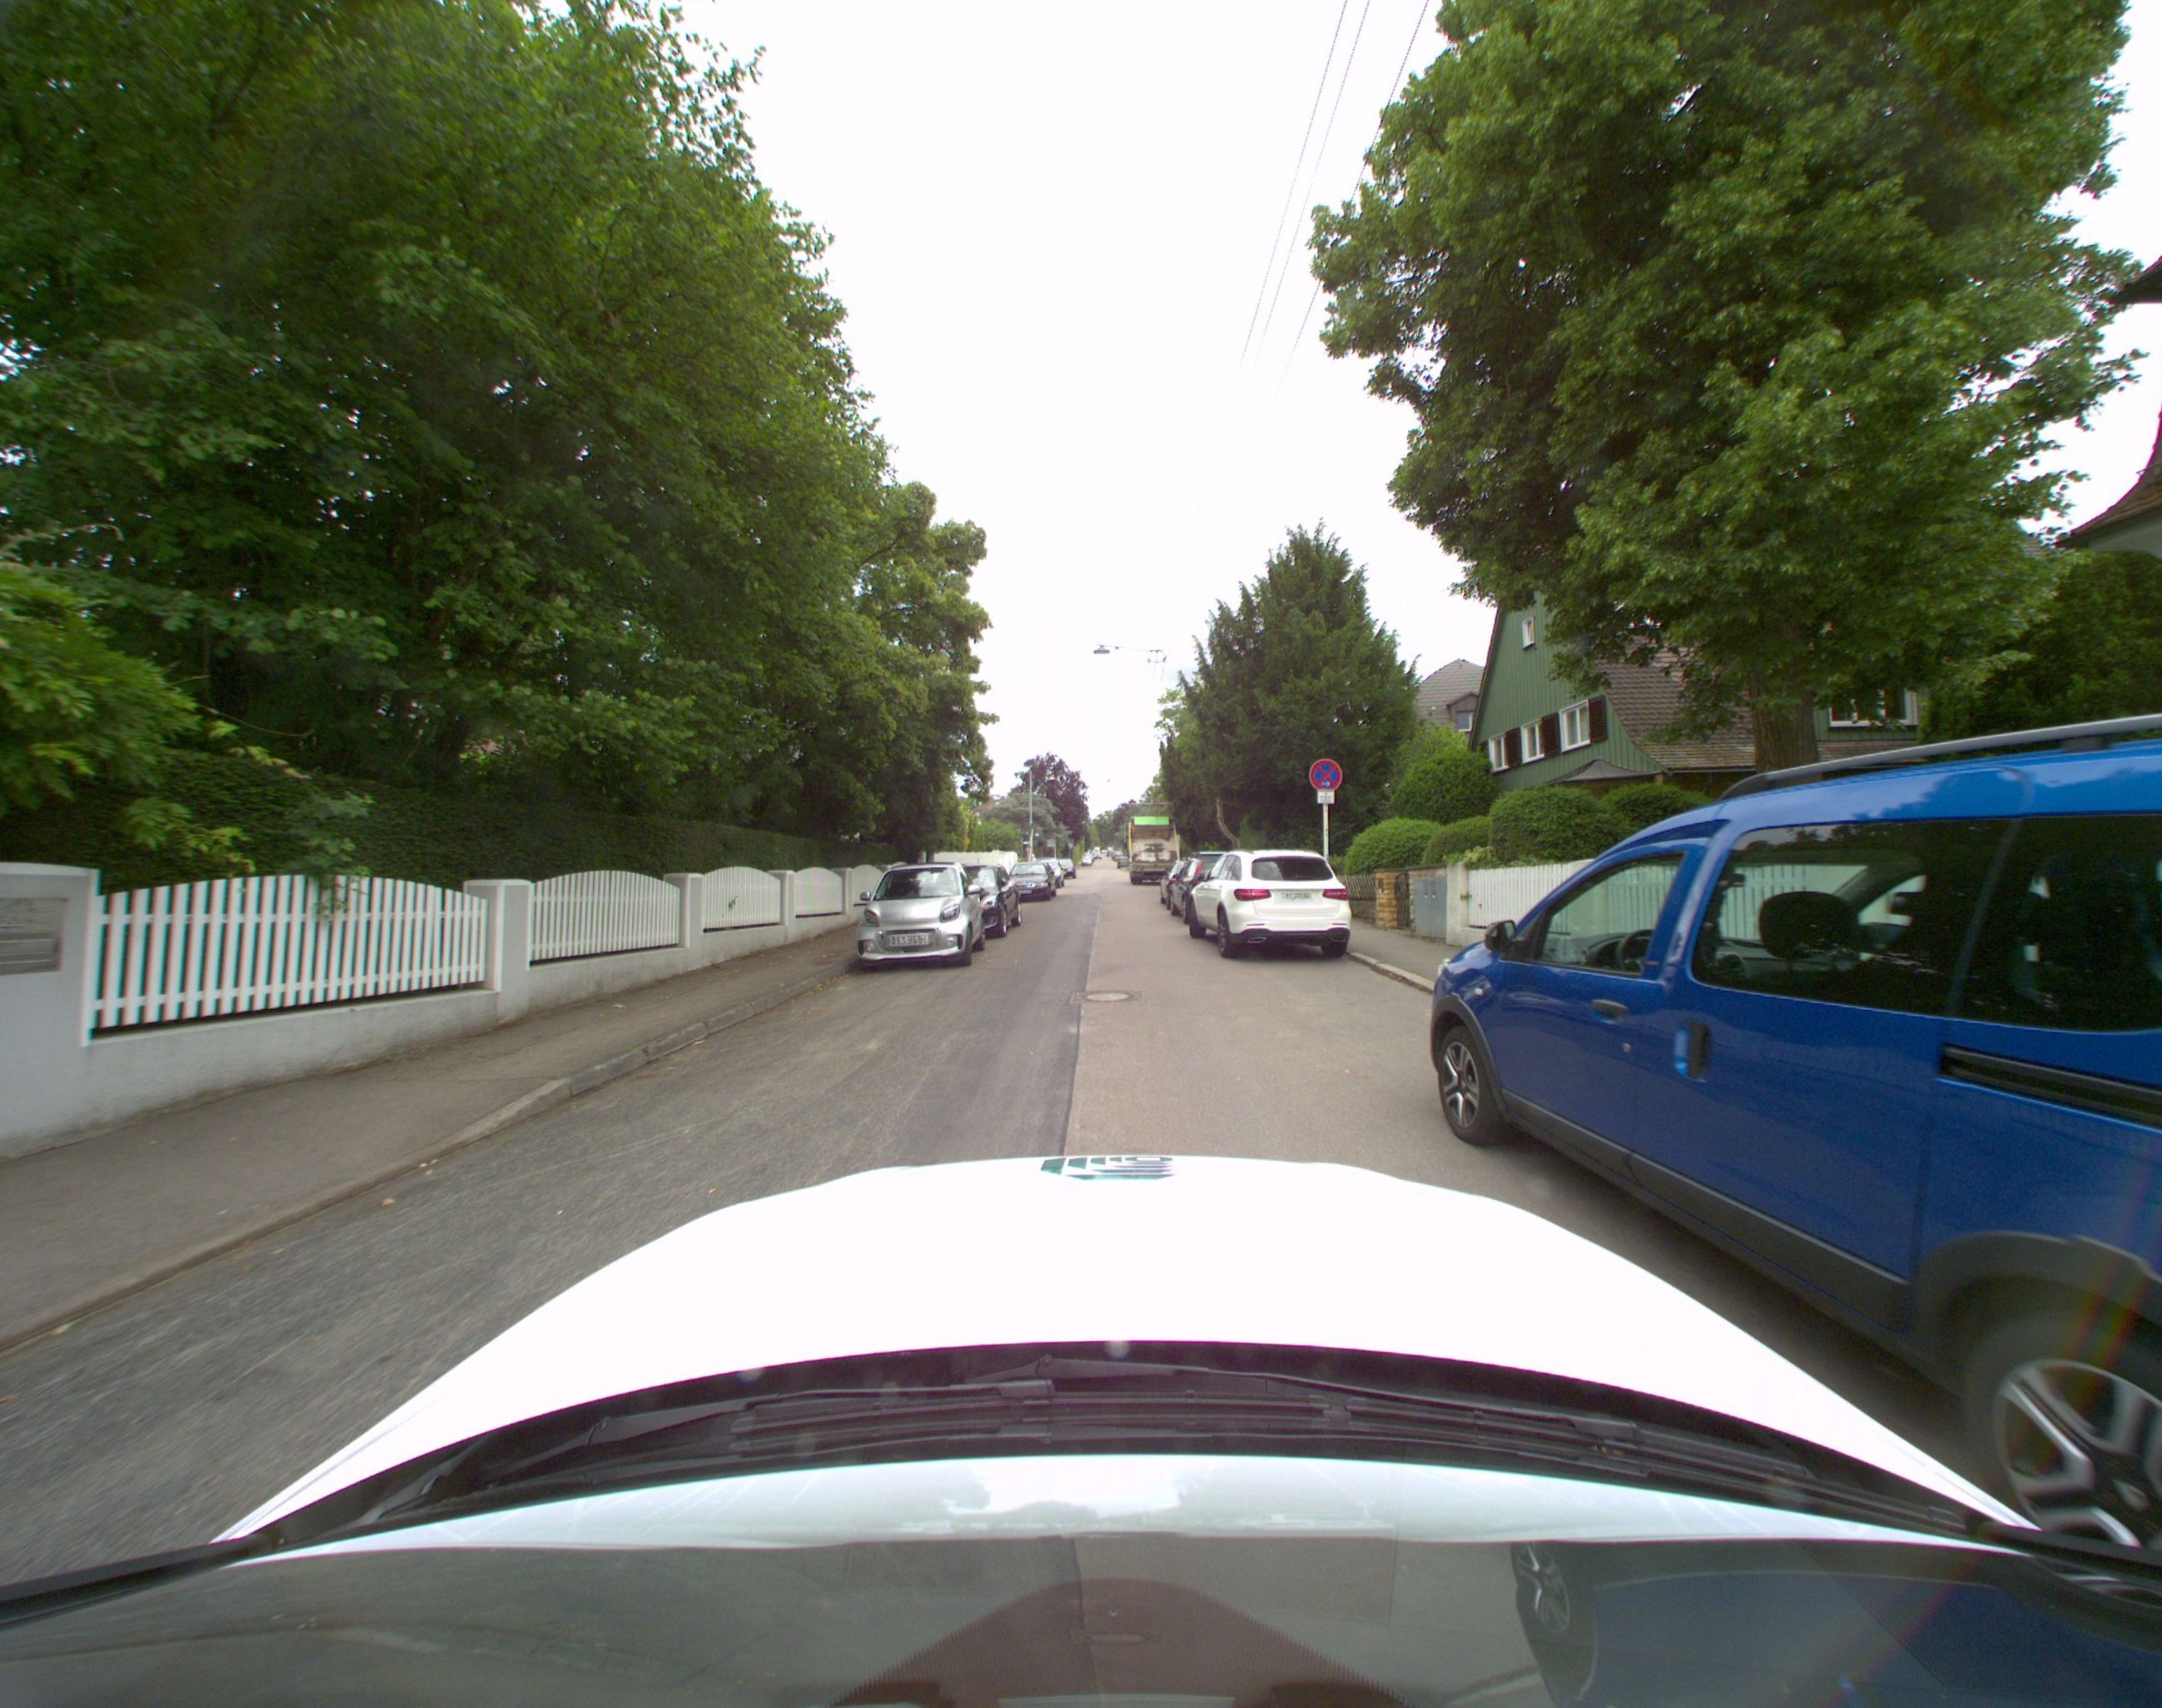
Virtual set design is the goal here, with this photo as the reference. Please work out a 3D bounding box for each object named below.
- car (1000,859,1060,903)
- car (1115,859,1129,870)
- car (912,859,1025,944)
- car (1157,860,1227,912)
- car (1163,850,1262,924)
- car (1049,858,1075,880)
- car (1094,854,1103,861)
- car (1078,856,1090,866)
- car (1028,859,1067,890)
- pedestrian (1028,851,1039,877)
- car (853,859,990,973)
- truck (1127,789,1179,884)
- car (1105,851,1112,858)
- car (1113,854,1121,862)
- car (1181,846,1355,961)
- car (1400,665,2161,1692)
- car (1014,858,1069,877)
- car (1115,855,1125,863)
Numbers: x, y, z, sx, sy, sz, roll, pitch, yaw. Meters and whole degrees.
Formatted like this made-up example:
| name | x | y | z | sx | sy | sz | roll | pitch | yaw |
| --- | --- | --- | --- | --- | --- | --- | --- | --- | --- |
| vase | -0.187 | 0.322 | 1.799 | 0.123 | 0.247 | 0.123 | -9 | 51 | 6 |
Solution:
| name | x | y | z | sx | sy | sz | roll | pitch | yaw |
| --- | --- | --- | --- | --- | --- | --- | --- | --- | --- |
| car | -1.833 | 0.966 | 30.665 | 1.634 | 1.422 | 4.554 | -3 | 0 | 4 |
| car | 5.687 | 1.453 | 114.073 | 1.773 | 1.489 | 4.000 | -1 | 0 | 1 |
| car | -2.260 | 0.916 | 17.393 | 1.649 | 1.481 | 3.890 | -3 | 0 | 2 |
| car | 3.297 | 0.909 | 24.941 | 1.646 | 1.424 | 4.662 | 0 | 0 | 2 |
| car | 3.058 | 0.726 | 19.769 | 1.693 | 1.570 | 4.307 | -1 | -1 | 0 |
| car | -1.320 | 1.030 | 57.726 | 1.631 | 1.395 | 3.988 | -3 | 0 | 0 |
| car | 3.932 | 0.780 | 183.460 | 1.720 | 1.407 | 3.809 | -1 | -1 | 6 |
| car | 0.570 | 1.128 | 134.192 | 1.703 | 1.586 | 4.005 | 0 | 0 | 4 |
| car | -1.678 | 1.023 | 41.958 | 1.589 | 1.433 | 4.002 | -3 | 0 | 2 |
| pedestrian | -3.691 | 0.758 | 63.350 | 0.850 | 2.014 | 0.700 | 1 | -1 | -4 |
| car | -2.437 | 0.893 | 13.085 | 1.617 | 1.533 | 2.960 | -3 | 0 | -2 |
| truck | 3.809 | -0.870 | 44.459 | 2.514 | 4.748 | 7.191 | 0 | 0 | 2 |
| car | 7.076 | 0.121 | 207.776 | 1.628 | 1.701 | 3.495 | 0 | 0 | 1 |
| car | 7.375 | 0.825 | 166.593 | 1.782 | 1.529 | 3.737 | 0 | 0 | 3 |
| car | 2.920 | 0.714 | 13.750 | 1.753 | 1.606 | 4.571 | 0 | 0 | -2 |
| car | 2.801 | 0.588 | 2.998 | 1.676 | 1.829 | 4.157 | 1 | 0 | 1 |
| car | -3.128 | 1.074 | 64.953 | 3.955 | 1.444 | 1.835 | -1 | 0 | 17 |
| car | 7.540 | 0.984 | 157.752 | 1.804 | 1.335 | 3.633 | 1 | 1 | 1 |
